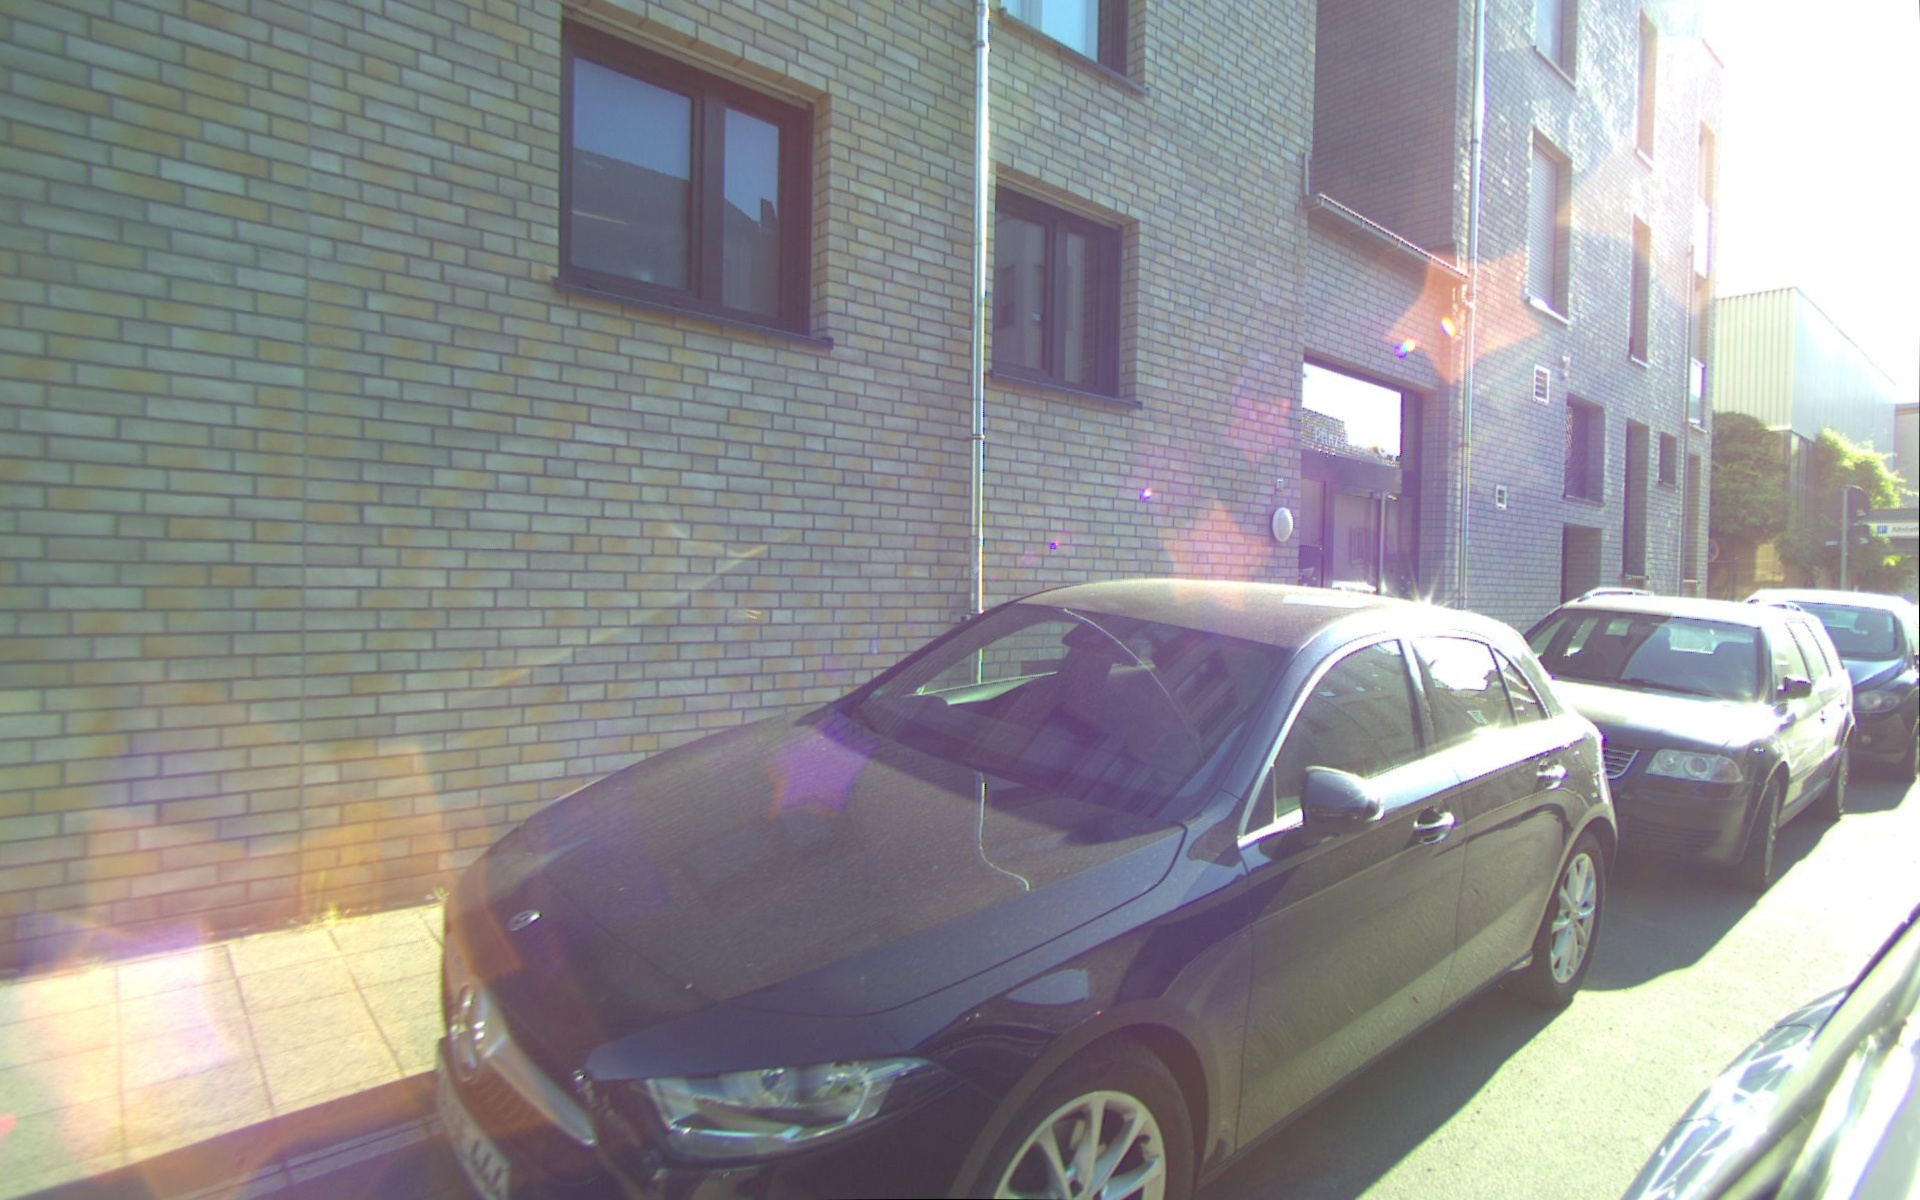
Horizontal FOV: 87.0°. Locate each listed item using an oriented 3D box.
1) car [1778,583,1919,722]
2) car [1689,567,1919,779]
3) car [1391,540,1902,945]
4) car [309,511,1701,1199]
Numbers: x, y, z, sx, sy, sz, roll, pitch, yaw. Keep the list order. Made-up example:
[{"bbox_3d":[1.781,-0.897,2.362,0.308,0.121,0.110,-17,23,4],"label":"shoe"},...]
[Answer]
[{"bbox_3d":[11.851,0.583,12.969,3.595,1.543,1.728,0,2,-45],"label":"car"},{"bbox_3d":[8.668,0.568,9.939,4.270,1.611,1.652,0,3,-44],"label":"car"},{"bbox_3d":[4.727,0.583,6.612,4.756,1.755,1.670,0,2,-42],"label":"car"},{"bbox_3d":[0.688,0.628,3.307,4.545,1.547,1.730,0,5,-41],"label":"car"}]
